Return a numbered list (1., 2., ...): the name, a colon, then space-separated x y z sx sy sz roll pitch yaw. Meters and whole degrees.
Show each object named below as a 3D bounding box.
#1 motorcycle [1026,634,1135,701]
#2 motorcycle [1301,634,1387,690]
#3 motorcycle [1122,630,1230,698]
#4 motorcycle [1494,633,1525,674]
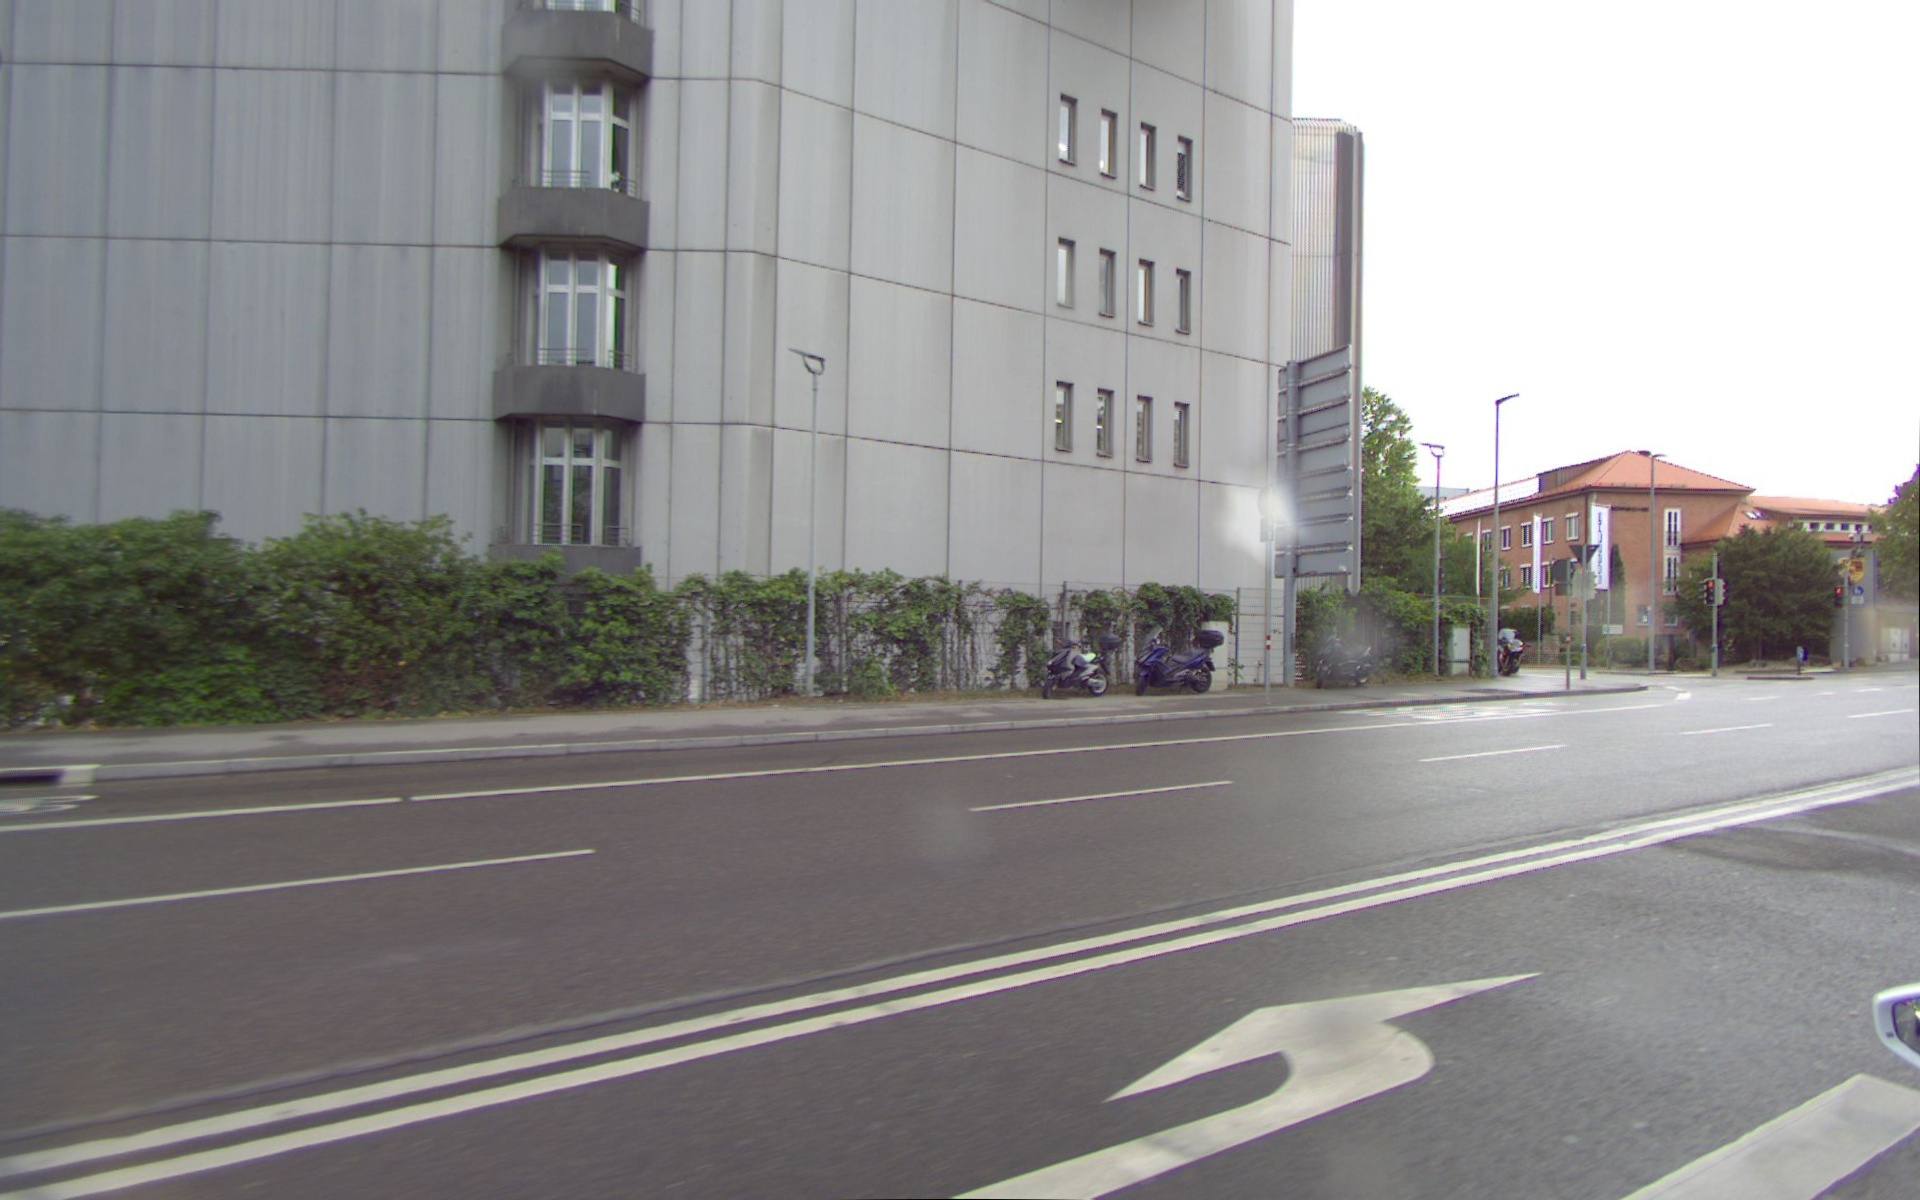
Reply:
1. motorcycle: 2.399 1.306 19.879 2.132 1.267 0.781 1 -2 -31
2. motorcycle: 9.195 1.461 24.004 2.132 1.263 0.781 1 -2 -31
3. motorcycle: 4.554 1.320 21.101 2.342 1.365 0.781 1 -2 -31
4. motorcycle: 17.596 1.696 32.143 0.759 1.234 2.504 0 -2 31
